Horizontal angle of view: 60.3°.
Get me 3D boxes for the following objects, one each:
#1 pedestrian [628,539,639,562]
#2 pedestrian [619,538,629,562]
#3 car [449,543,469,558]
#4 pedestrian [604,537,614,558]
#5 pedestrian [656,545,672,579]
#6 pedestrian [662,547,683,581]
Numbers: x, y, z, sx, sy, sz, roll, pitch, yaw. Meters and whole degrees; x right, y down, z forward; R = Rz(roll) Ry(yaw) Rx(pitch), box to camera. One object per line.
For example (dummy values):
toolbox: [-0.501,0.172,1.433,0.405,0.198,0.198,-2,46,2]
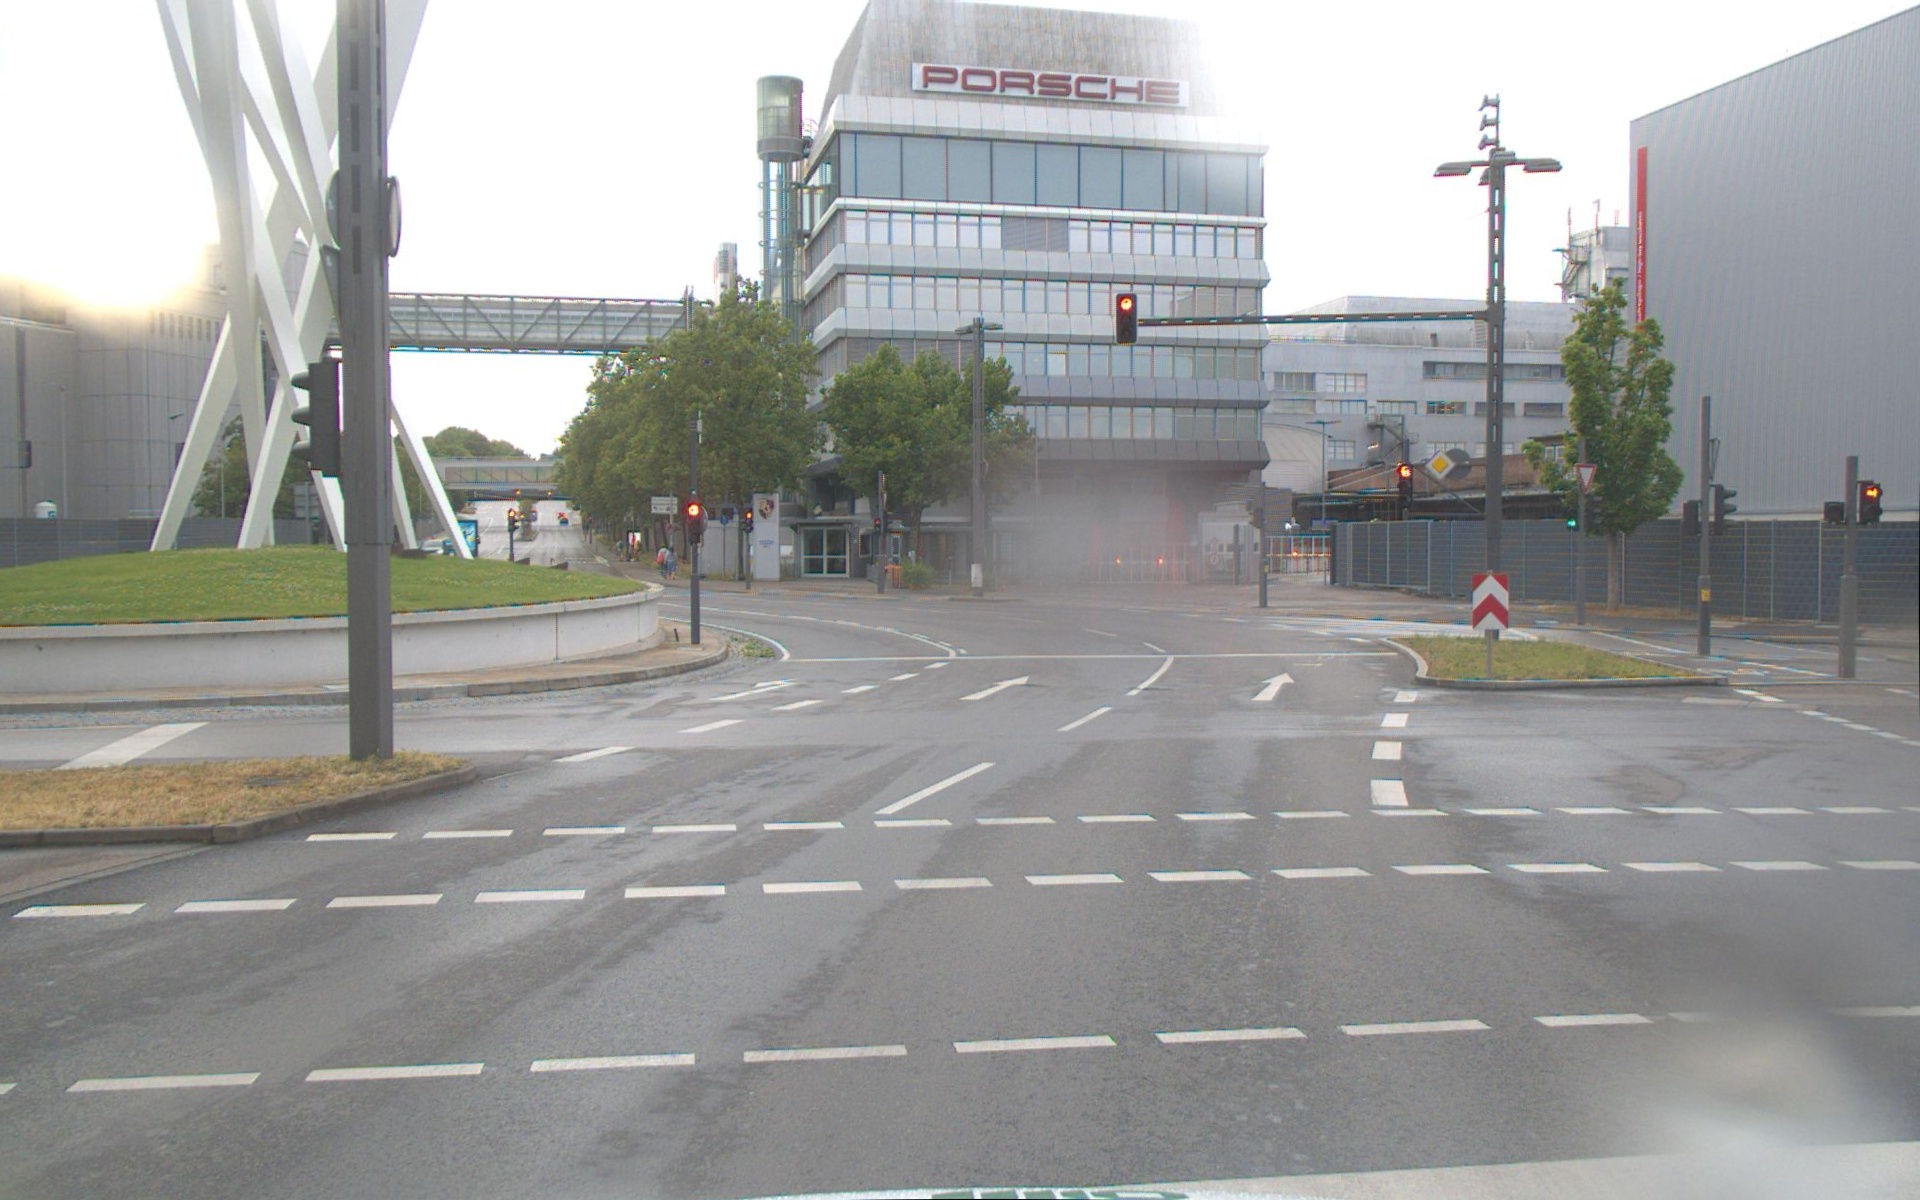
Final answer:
pedestrian: [-25.627,-3.891,129.842,0.744,1.770,0.712,1,-1,-10]
pedestrian: [-25.332,-3.773,124.717,0.699,1.770,0.757,1,-1,-14]
car: [-51.096,-5.041,168.628,1.753,1.465,4.380,-1,3,-14]
pedestrian: [-35.129,-5.275,165.462,0.749,2.049,0.693,0,1,3]
pedestrian: [-14.062,-1.816,78.624,0.696,1.619,0.839,-1,2,-10]
pedestrian: [-13.430,-1.683,77.317,0.820,1.547,0.836,-1,2,-22]
